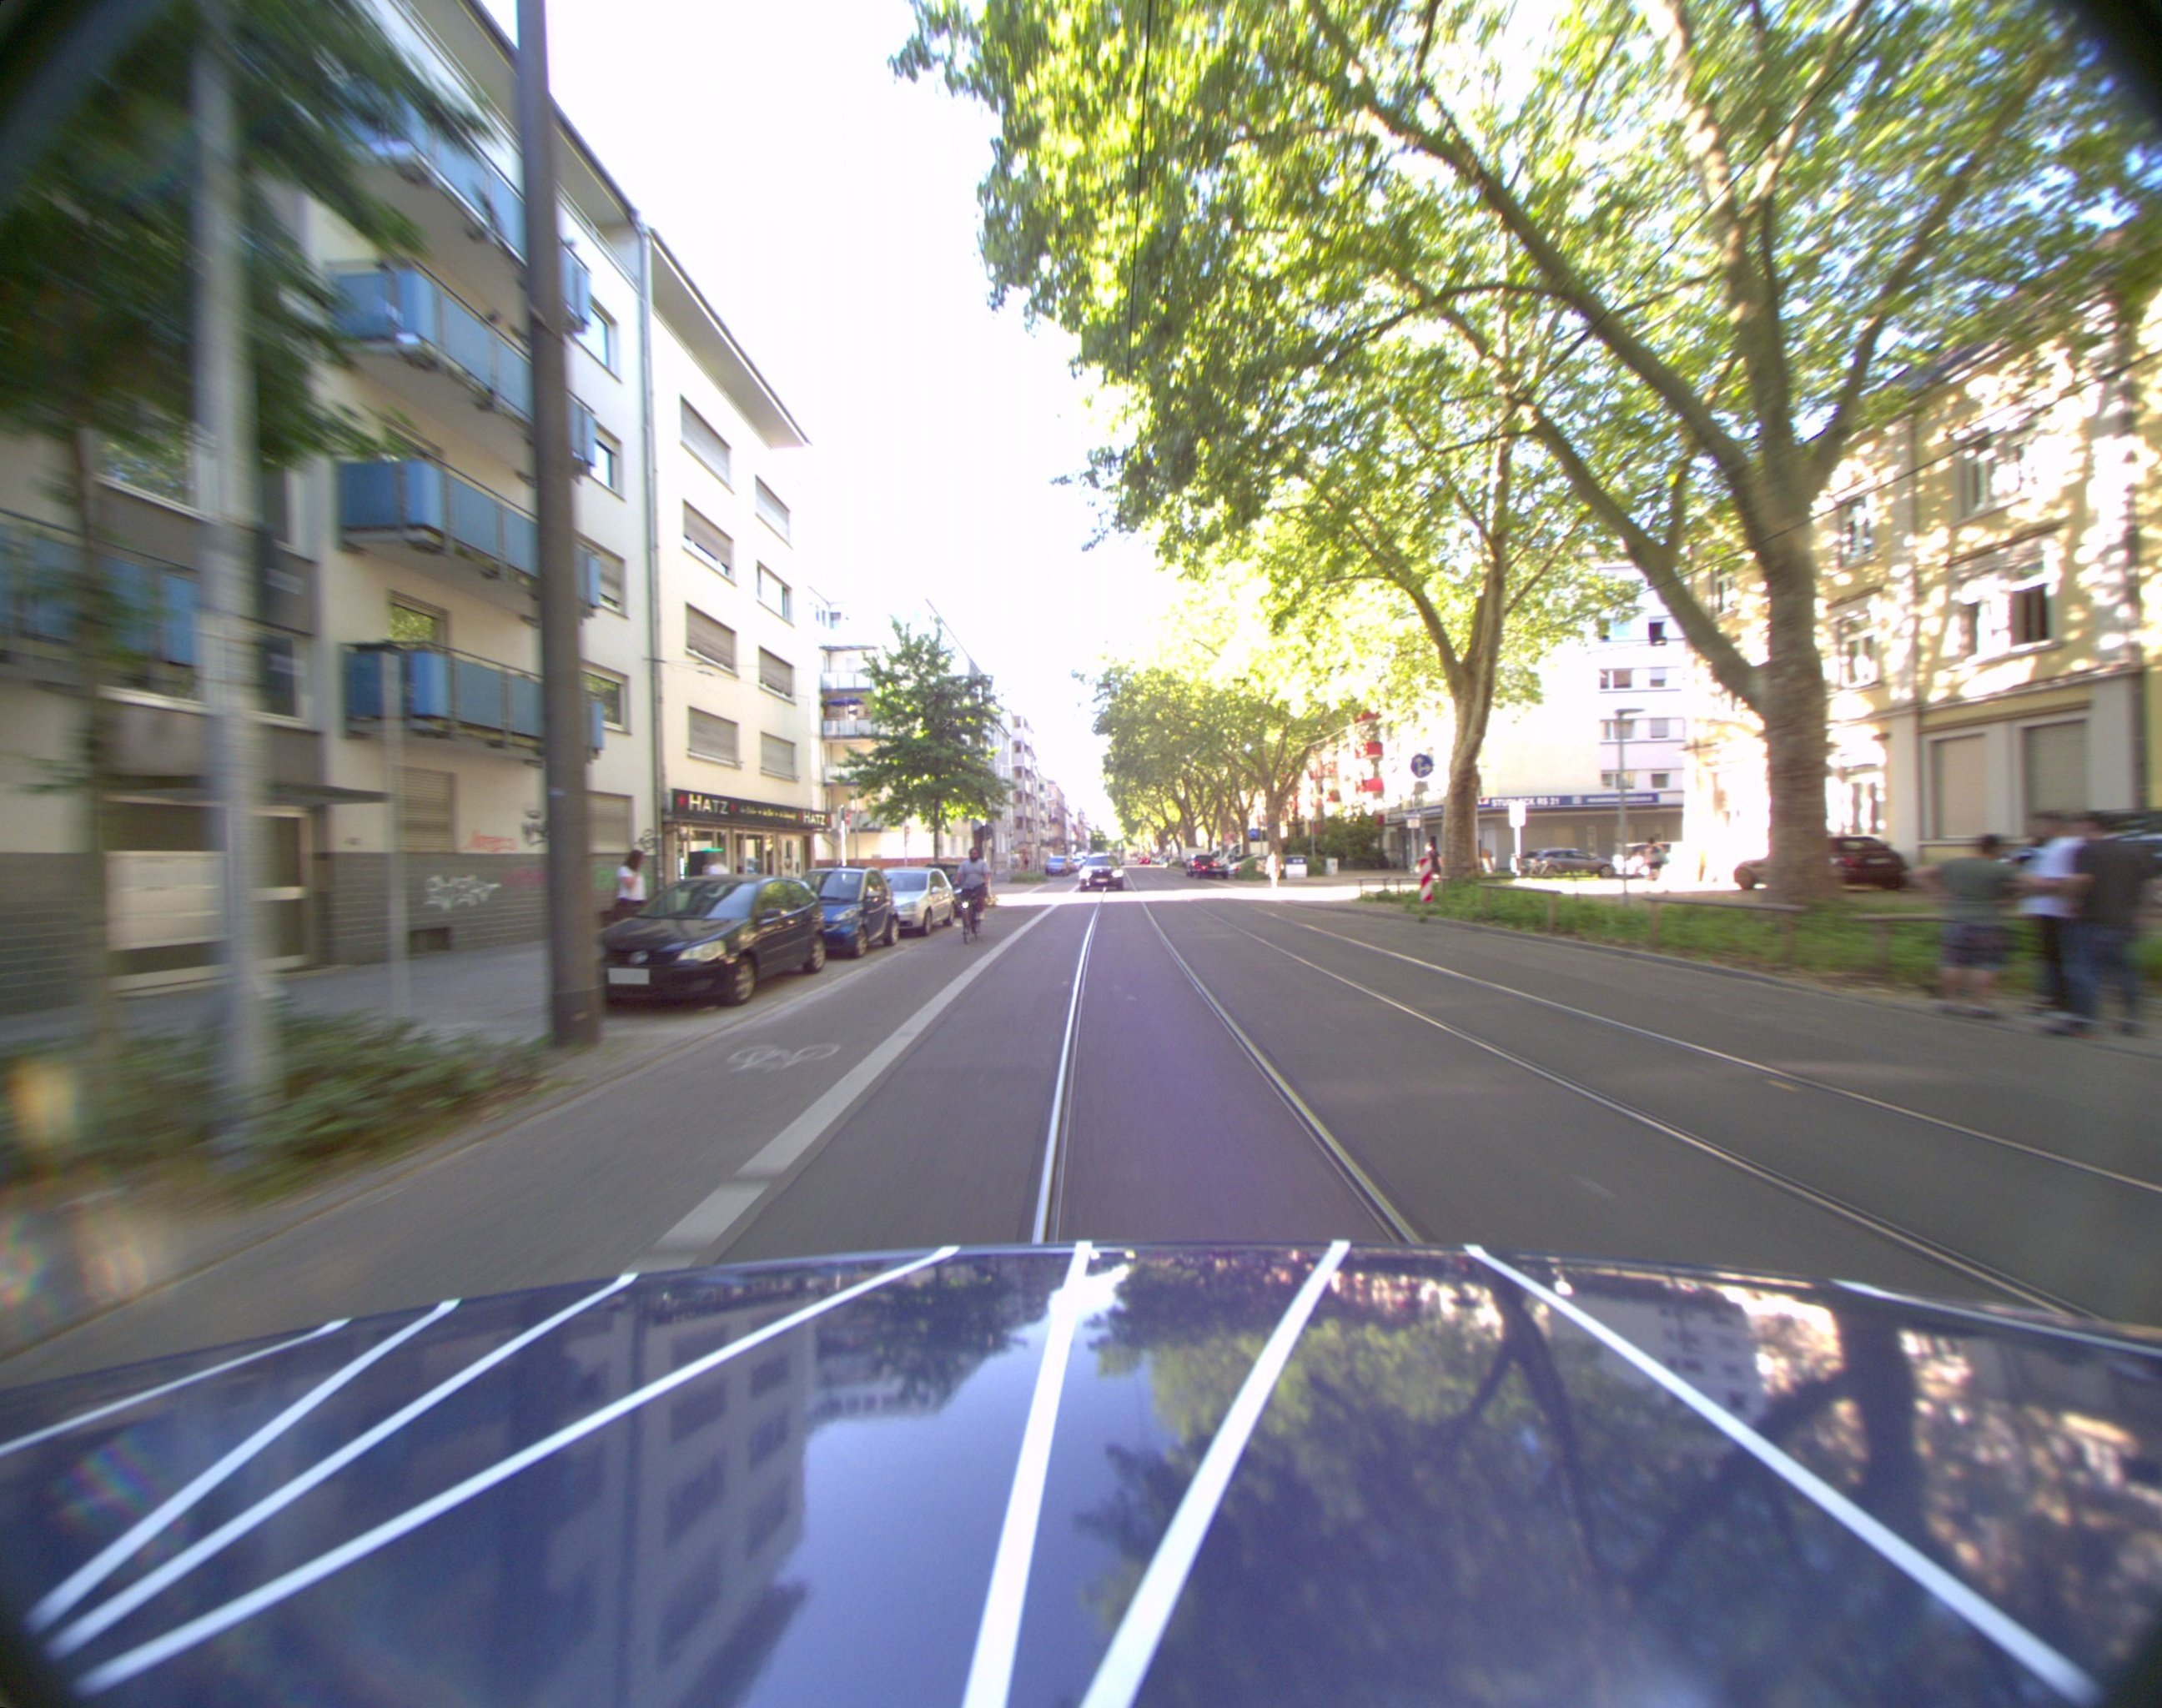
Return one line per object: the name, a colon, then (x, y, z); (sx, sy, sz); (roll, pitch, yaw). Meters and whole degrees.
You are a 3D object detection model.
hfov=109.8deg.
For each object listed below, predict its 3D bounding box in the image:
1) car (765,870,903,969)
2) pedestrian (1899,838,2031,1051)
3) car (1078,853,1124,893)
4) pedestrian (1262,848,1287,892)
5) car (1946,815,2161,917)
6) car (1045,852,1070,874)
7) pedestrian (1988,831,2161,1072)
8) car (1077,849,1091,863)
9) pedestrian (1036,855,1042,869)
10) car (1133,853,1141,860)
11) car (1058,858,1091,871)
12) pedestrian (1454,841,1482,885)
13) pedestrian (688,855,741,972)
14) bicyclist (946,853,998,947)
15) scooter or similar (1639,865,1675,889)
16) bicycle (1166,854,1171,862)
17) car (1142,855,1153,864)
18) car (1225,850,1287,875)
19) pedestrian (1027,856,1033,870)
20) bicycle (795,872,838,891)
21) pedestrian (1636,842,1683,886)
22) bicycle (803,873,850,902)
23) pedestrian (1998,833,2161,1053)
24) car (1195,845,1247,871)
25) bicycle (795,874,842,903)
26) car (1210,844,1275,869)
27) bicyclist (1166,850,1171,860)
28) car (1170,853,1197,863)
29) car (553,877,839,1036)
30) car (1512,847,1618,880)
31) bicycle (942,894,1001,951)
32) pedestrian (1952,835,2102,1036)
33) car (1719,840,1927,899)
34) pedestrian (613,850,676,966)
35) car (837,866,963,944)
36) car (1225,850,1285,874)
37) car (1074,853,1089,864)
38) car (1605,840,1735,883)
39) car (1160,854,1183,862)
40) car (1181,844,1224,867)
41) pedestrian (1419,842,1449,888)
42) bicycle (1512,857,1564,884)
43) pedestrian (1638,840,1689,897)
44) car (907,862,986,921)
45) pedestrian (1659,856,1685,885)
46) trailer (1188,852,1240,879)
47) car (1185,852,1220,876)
car: (-4.311, 1.077, 13.670); (1.447, 1.528, 2.882); (1, 0, 2)
pedestrian: (7.788, 0.741, 6.713); (0.772, 1.725, 0.712); (-3, 1, -40)
car: (0.971, 0.810, 35.370); (1.998, 1.723, 4.400); (0, 1, 3)
pedestrian: (8.105, 0.672, 31.790); (0.700, 1.781, 0.801); (-2, 1, -10)
car: (19.396, 0.165, 13.906); (1.998, 1.726, 4.697); (-2, 0, 5)
car: (-2.244, 0.807, 72.458); (1.957, 1.914, 4.000); (-2, 0, 3)
pedestrian: (7.974, 0.718, 5.981); (0.713, 1.767, 0.771); (-2, 1, 2)
car: (0.555, 0.337, 122.596); (1.990, 2.085, 4.471); (-2, 0, 3)
pedestrian: (-5.397, 1.025, 97.869); (0.697, 1.685, 0.678); (-2, 1, 2)
car: (16.102, 0.668, 219.066); (1.998, 1.723, 4.400); (-2, 0, 3)
car: (-0.759, 1.300, 93.213); (3.997, 1.458, 2.000); (-2, 1, 1)
pedestrian: (15.811, 0.352, 31.065); (0.724, 1.770, 0.668); (-3, 1, -23)
pedestrian: (-5.960, 0.951, 12.368); (0.477, 1.841, 0.664); (-2, 1, 0)
bicyclist: (-2.186, 0.900, 15.379); (0.769, 1.821, 1.099); (-2, 1, 3)
scooter or similar: (19.629, 0.782, 25.904); (0.529, 0.749, 0.896); (-2, 1, 1)
bicycle: (11.452, 0.505, 98.980); (0.533, 0.900, 1.557); (-2, 1, 3)
car: (14.034, 1.217, 160.697); (1.998, 1.723, 4.400); (-2, 0, 3)
car: (12.641, 0.600, 55.004); (3.997, 1.600, 1.909); (-2, 1, 1)
pedestrian: (-5.694, 1.010, 85.042); (0.590, 1.493, 0.600); (-2, 1, 3)
bicycle: (-14.363, 1.474, 41.314); (2.109, 0.986, 0.607); (-1, 1, 6)
pedestrian: (20.101, 0.338, 26.428); (0.774, 1.470, 1.069); (-2, 1, 1)
bicycle: (-11.092, 1.466, 33.101); (2.069, 1.200, 0.482); (-2, 1, 24)
pedestrian: (8.496, 0.702, 6.478); (0.768, 1.725, 0.715); (-1, 1, 44)
car: (13.699, 0.369, 74.544); (4.660, 2.292, 2.000); (-2, 1, 3)
bicycle: (-11.278, 1.473, 32.617); (2.069, 1.200, 0.482); (-2, 1, 24)
car: (13.965, 0.226, 65.926); (5.134, 1.984, 1.999); (-2, 1, -2)
bicyclist: (11.421, 0.108, 98.956); (0.533, 1.206, 0.666); (-2, 1, 3)
car: (16.164, 0.612, 119.968); (3.997, 1.458, 2.000); (-2, 1, 1)
car: (-4.530, 1.100, 9.657); (1.626, 1.473, 3.889); (1, 0, 0)
car: (24.511, 0.475, 38.587); (4.152, 1.469, 1.835); (-2, 1, 2)
bicycle: (-2.179, 1.349, 15.371); (0.790, 0.932, 1.939); (-2, 0, 3)
pedestrian: (8.740, 0.703, 7.058); (0.768, 1.725, 0.718); (-1, 1, 44)
car: (20.020, 0.371, 20.778); (1.783, 1.379, 4.000); (-2, 0, 0)
pedestrian: (-7.167, 0.868, 12.496); (0.538, 1.841, 0.665); (-2, 1, 14)
car: (-4.054, 1.081, 17.723); (1.790, 1.528, 4.128); (1, 0, 2)
car: (13.132, 0.608, 57.524); (3.997, 1.635, 2.000); (-2, 1, 1)
car: (0.083, 0.669, 113.162); (1.867, 1.499, 4.000); (-2, 0, 3)
car: (25.009, 0.352, 32.384); (4.011, 1.627, 1.801); (-2, -3, 2)
car: (17.157, 0.744, 144.248); (3.997, 1.458, 1.793); (-2, 1, 1)
car: (14.224, 0.166, 89.284); (4.660, 2.518, 2.000); (-2, 1, 3)
pedestrian: (13.982, 0.436, 30.104); (0.741, 1.747, 0.734); (-3, 1, -22)
bicycle: (19.508, 0.709, 32.433); (1.867, 1.056, 0.656); (-2, 1, -5)
pedestrian: (17.296, 0.412, 22.595); (0.713, 1.628, 1.009); (-2, 1, 0)
car: (-4.031, 1.076, 23.471); (1.724, 1.562, 4.259); (1, 0, -1)
pedestrian: (21.694, 0.598, 27.891); (0.544, 1.034, 0.545); (-3, 1, -30)
trailer: (8.881, 0.707, 51.399); (2.452, 1.622, 6.584); (1, 0, 1)
car: (9.047, 0.716, 56.892); (1.928, 1.674, 4.182); (1, 0, 1)
